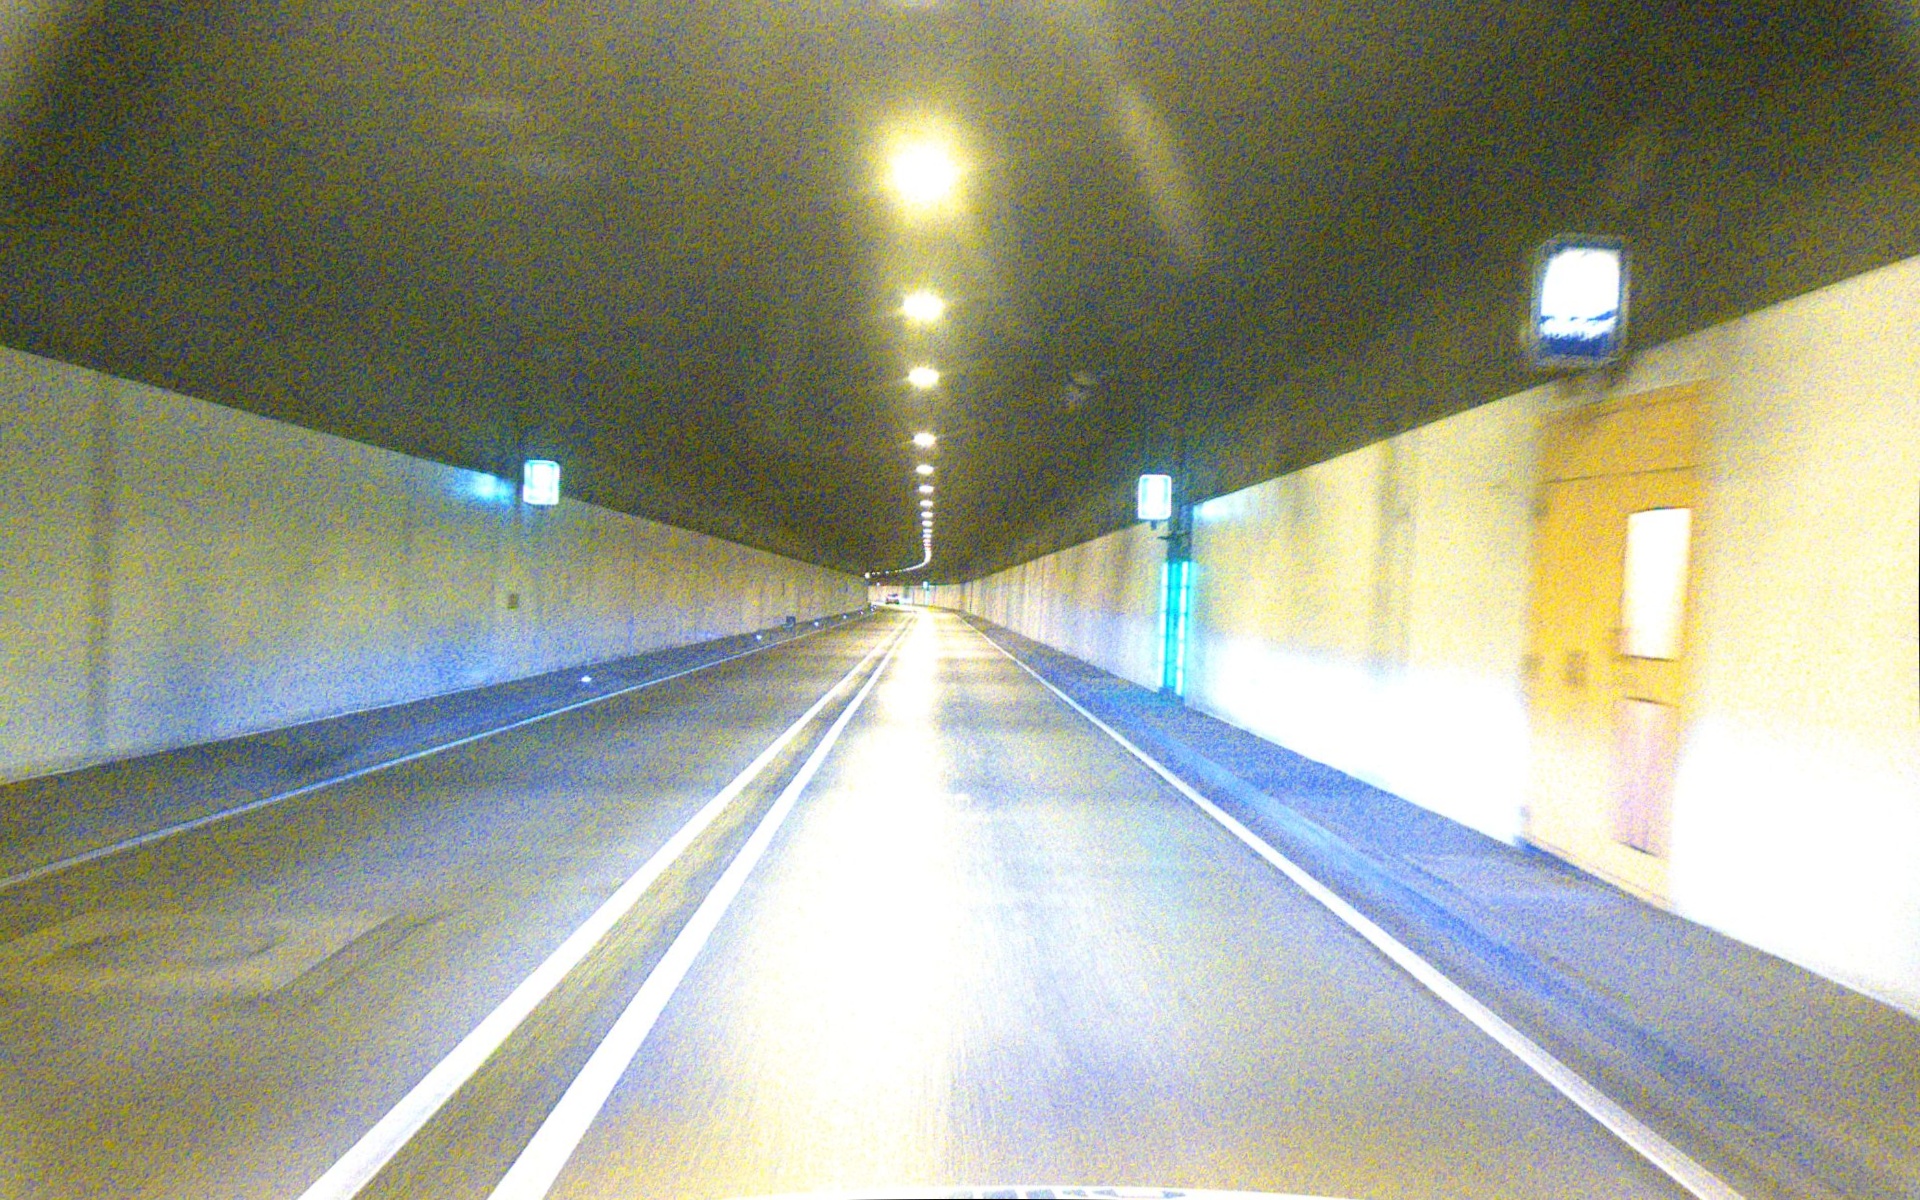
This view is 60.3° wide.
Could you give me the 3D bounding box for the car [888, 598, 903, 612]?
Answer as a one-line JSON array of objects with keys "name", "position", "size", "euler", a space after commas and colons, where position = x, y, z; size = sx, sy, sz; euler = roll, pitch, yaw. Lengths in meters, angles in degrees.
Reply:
[{"name": "car", "position": [-9.550, 0.722, 243.966], "size": [1.929, 1.972, 4.607], "euler": [3, -1, -6]}]
